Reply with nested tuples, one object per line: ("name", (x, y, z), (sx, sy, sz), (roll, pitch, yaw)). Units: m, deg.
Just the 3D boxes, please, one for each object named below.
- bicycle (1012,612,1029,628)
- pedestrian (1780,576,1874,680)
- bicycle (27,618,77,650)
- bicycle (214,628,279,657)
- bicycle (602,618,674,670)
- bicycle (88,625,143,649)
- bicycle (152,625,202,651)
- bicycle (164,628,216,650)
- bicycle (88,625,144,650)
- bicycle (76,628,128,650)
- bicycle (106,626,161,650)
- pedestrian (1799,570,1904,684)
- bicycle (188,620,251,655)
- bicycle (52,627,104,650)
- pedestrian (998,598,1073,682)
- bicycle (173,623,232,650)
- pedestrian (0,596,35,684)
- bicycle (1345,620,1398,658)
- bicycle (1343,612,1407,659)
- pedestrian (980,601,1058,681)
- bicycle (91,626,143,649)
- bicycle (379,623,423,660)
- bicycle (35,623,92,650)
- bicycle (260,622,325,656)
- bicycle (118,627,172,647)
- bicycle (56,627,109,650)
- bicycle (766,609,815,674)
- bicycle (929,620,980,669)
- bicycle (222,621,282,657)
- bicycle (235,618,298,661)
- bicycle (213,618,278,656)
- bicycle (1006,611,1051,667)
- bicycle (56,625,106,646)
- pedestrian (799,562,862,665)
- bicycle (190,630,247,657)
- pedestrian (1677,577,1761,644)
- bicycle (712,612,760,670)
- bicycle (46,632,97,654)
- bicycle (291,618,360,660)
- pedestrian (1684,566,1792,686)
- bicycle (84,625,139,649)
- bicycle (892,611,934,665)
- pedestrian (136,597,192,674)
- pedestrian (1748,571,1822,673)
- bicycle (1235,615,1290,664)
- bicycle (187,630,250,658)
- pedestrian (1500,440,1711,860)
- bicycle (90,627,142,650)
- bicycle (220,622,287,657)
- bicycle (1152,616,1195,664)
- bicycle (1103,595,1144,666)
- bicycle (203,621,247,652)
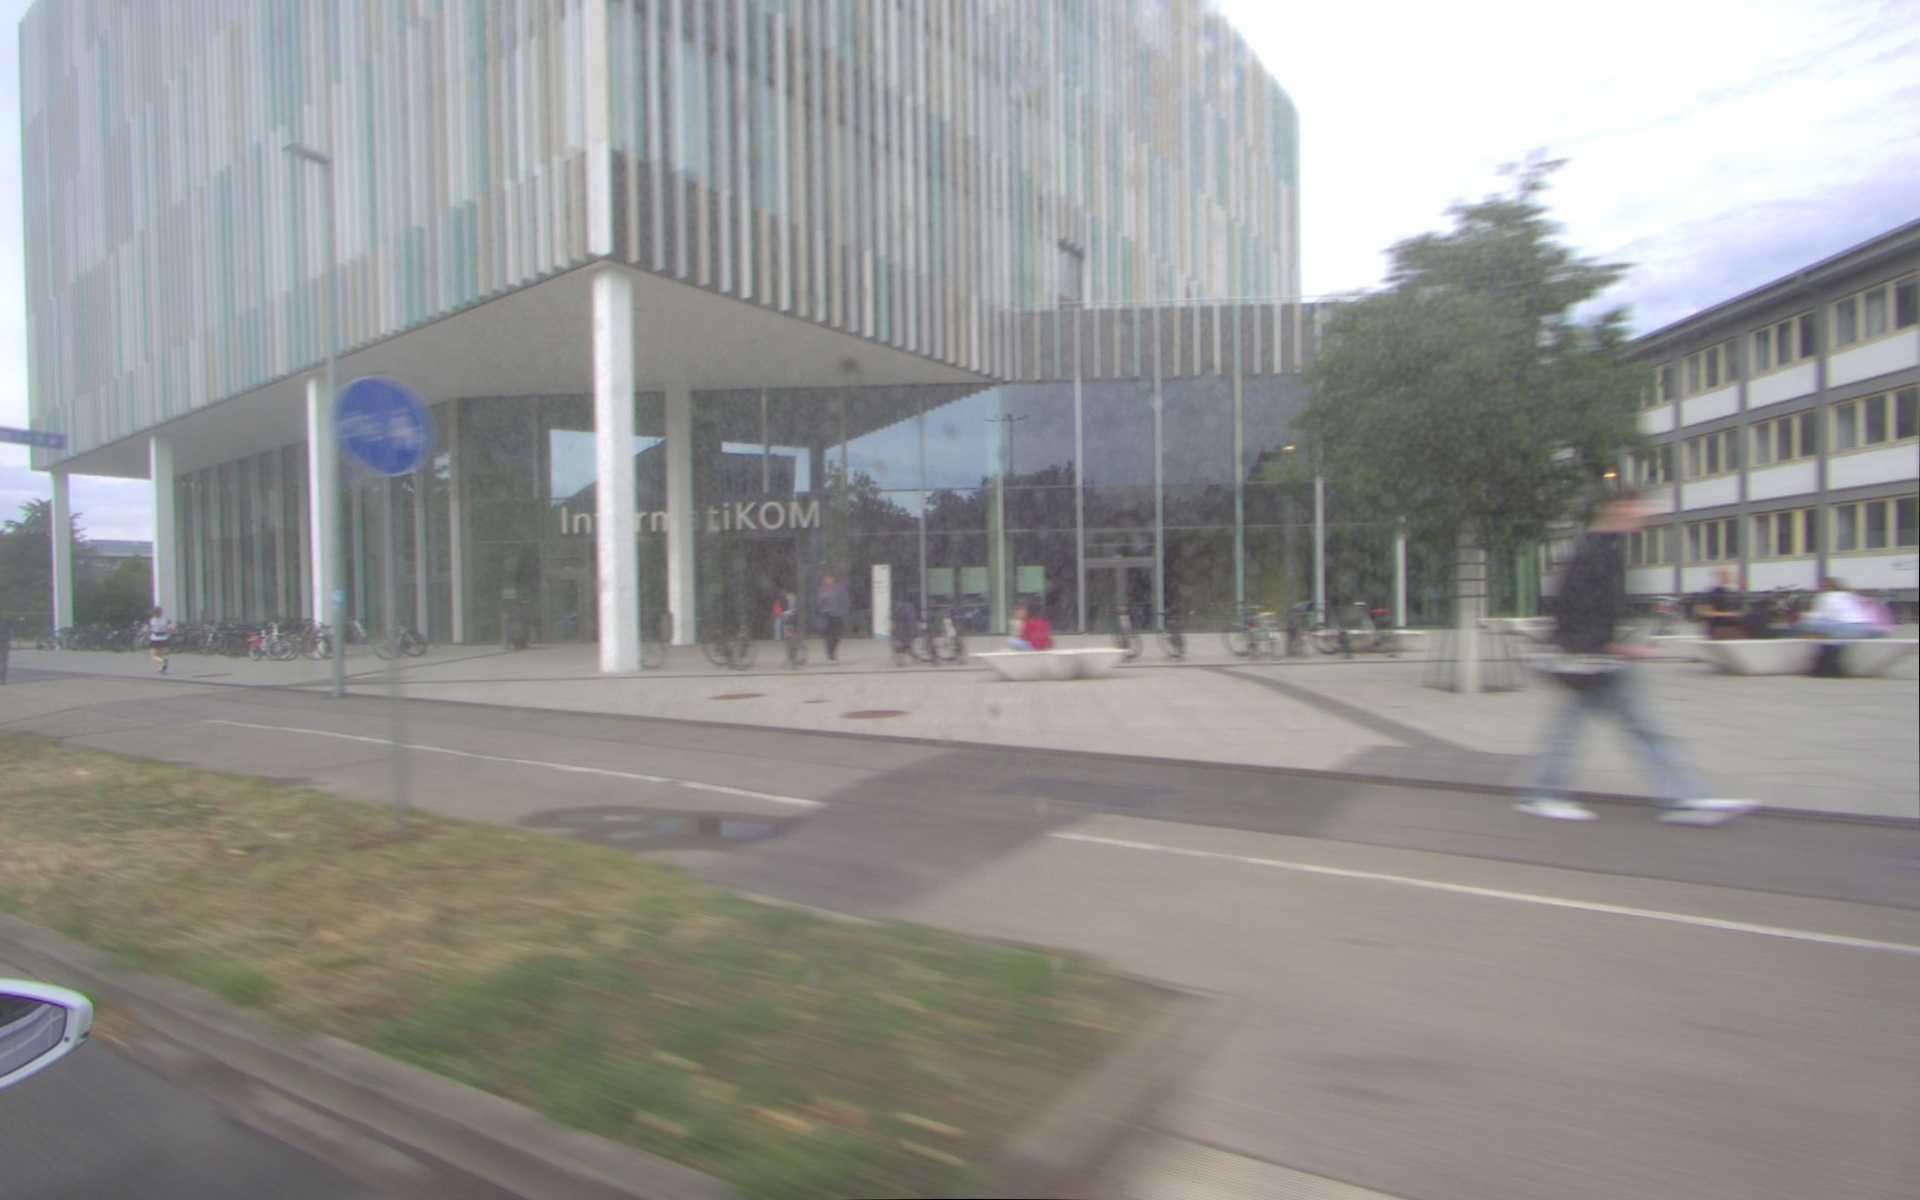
("bicycle", (2.532, 0.835, 42.039), (0.424, 0.640, 1.690), (-1, 0, -7))
("pedestrian", (11.077, 0.359, 12.823), (0.868, 1.273, 0.905), (-1, -1, 39))
("bicycle", (-42.360, 1.587, 46.715), (1.634, 1.351, 0.459), (-4, 3, -41))
("bicycle", (-23.165, 1.372, 32.536), (0.549, 0.886, 1.600), (-1, 0, 37))
("bicycle", (-6.950, 0.930, 21.574), (1.820, 1.075, 0.635), (-1, -2, 41))
("bicycle", (-34.338, 1.507, 40.733), (0.549, 0.886, 1.600), (-1, 1, 37))
("bicycle", (-27.963, 1.349, 35.786), (0.549, 0.886, 1.278), (-1, 1, 37))
("bicycle", (-28.868, 1.462, 37.575), (0.549, 0.756, 1.429), (-1, 1, 37))
("bicycle", (-33.648, 1.482, 39.935), (0.549, 0.886, 1.600), (-1, 1, 37))
("bicycle", (-37.091, 1.678, 43.322), (0.549, 0.886, 1.600), (-1, 1, 37))
("bicycle", (-32.019, 1.463, 38.805), (0.549, 0.845, 1.526), (-1, 1, 37))
("pedestrian", (10.491, 0.326, 11.820), (0.868, 1.273, 0.905), (-1, -1, 39))
("bicycle", (-25.882, 1.292, 35.023), (0.565, 1.117, 1.636), (-1, 2, 39))
("bicycle", (-38.649, 1.682, 43.874), (0.549, 0.886, 1.600), (-1, 1, 37))
("pedestrian", (1.138, 0.588, 15.154), (0.831, 1.222, 0.892), (-1, 0, -19))
("bicycle", (-28.271, 1.343, 37.369), (0.511, 0.959, 1.682), (-1, 0, 43))
("pedestrian", (-22.712, 0.944, 23.787), (0.883, 2.041, 0.839), (-1, 3, 38))
("bicycle", (8.475, 0.800, 20.670), (0.481, 0.700, 1.185), (-1, 2, -7))
("bicycle", (8.533, 0.710, 20.641), (0.499, 0.911, 1.550), (-1, 0, -7))
("pedestrian", (0.931, 0.632, 15.870), (0.884, 1.209, 0.838), (-1, 0, -40))
("bicycle", (-33.124, 1.463, 39.356), (0.549, 0.850, 1.449), (-1, 1, 37))
("bicycle", (-15.354, 1.116, 27.535), (0.432, 0.942, 1.488), (0, 1, -2))
("bicycle", (-40.909, 1.656, 45.726), (0.618, 1.097, 1.788), (-1, 2, 35))
("bicycle", (-21.150, 1.226, 31.762), (1.594, 0.949, 0.563), (-4, 4, -43))
("bicycle", (-32.156, 1.447, 39.511), (0.549, 0.726, 1.554), (-1, 1, 37))
("bicycle", (-37.888, 1.668, 43.254), (0.549, 0.886, 1.600), (-1, 1, 37))
("bicycle", (-3.426, 0.807, 20.463), (0.759, 1.203, 2.719), (-1, 0, -5))
("bicycle", (-0.133, 0.891, 20.592), (0.659, 0.911, 1.844), (-1, 0, -12))
("bicycle", (-22.379, 1.222, 31.660), (0.552, 1.058, 1.394), (-1, 2, 37))
("bicycle", (-20.017, 1.131, 28.890), (2.170, 1.156, 0.634), (-2, 3, 32))
("bicycle", (-23.780, 1.215, 33.346), (0.566, 1.106, 1.633), (-1, 3, 45))
("bicycle", (1.392, 0.758, 20.035), (0.767, 1.019, 2.191), (-1, 0, 7))
("bicycle", (-39.784, 1.619, 45.354), (0.548, 0.886, 1.602), (-1, 0, 32))
("pedestrian", (-2.715, 0.300, 20.935), (1.164, 2.089, 1.134), (0, -1, -15))
("bicycle", (-26.465, 1.542, 35.764), (0.362, 0.908, 1.600), (-1, 0, 37))
("pedestrian", (9.907, 0.132, 13.069), (0.628, 0.834, 0.728), (-2, 0, -38))
("bicycle", (-4.690, 0.834, 21.077), (0.722, 1.130, 2.182), (-1, 0, -6))
("bicycle", (-39.408, 1.893, 44.436), (0.549, 0.886, 1.600), (-1, 1, 37))
("bicycle", (-17.509, 1.085, 27.630), (1.931, 1.095, 0.607), (-1, 2, 25))
("pedestrian", (9.457, 0.323, 12.212), (0.865, 1.385, 0.909), (-1, -1, 27))
("bicycle", (-34.796, 1.517, 41.084), (0.549, 0.886, 1.600), (-1, 1, 37))
("bicycle", (-0.978, 0.751, 20.567), (0.759, 1.015, 1.959), (-1, 0, -5))
("pedestrian", (-19.655, 0.861, 24.718), (0.882, 1.860, 0.840), (-1, 1, 35))
("pedestrian", (10.862, 0.291, 13.183), (0.641, 1.295, 0.640), (1, -1, -40))
("bicycle", (6.042, 0.773, 20.042), (0.532, 0.911, 1.356), (-1, 0, -7))
("bicycle", (-25.226, 1.490, 34.084), (0.549, 0.886, 1.600), (-1, 0, 37))
("pedestrian", (3.534, 0.251, 5.472), (0.883, 2.040, 0.839), (-1, 1, 38))
("bicycle", (-36.045, 1.645, 42.763), (0.549, 0.886, 1.600), (-1, 1, 37))
("bicycle", (-22.693, 1.259, 32.183), (0.549, 0.996, 1.599), (-1, 3, 37))
("bicycle", (4.352, 0.803, 20.465), (0.387, 0.911, 1.472), (-1, 0, -7))
("bicycle", (3.355, 0.584, 20.406), (0.634, 1.324, 2.005), (0, 2, 15))
("bicycle", (-26.430, 1.308, 36.005), (0.430, 1.064, 1.191), (-1, 1, 43))
